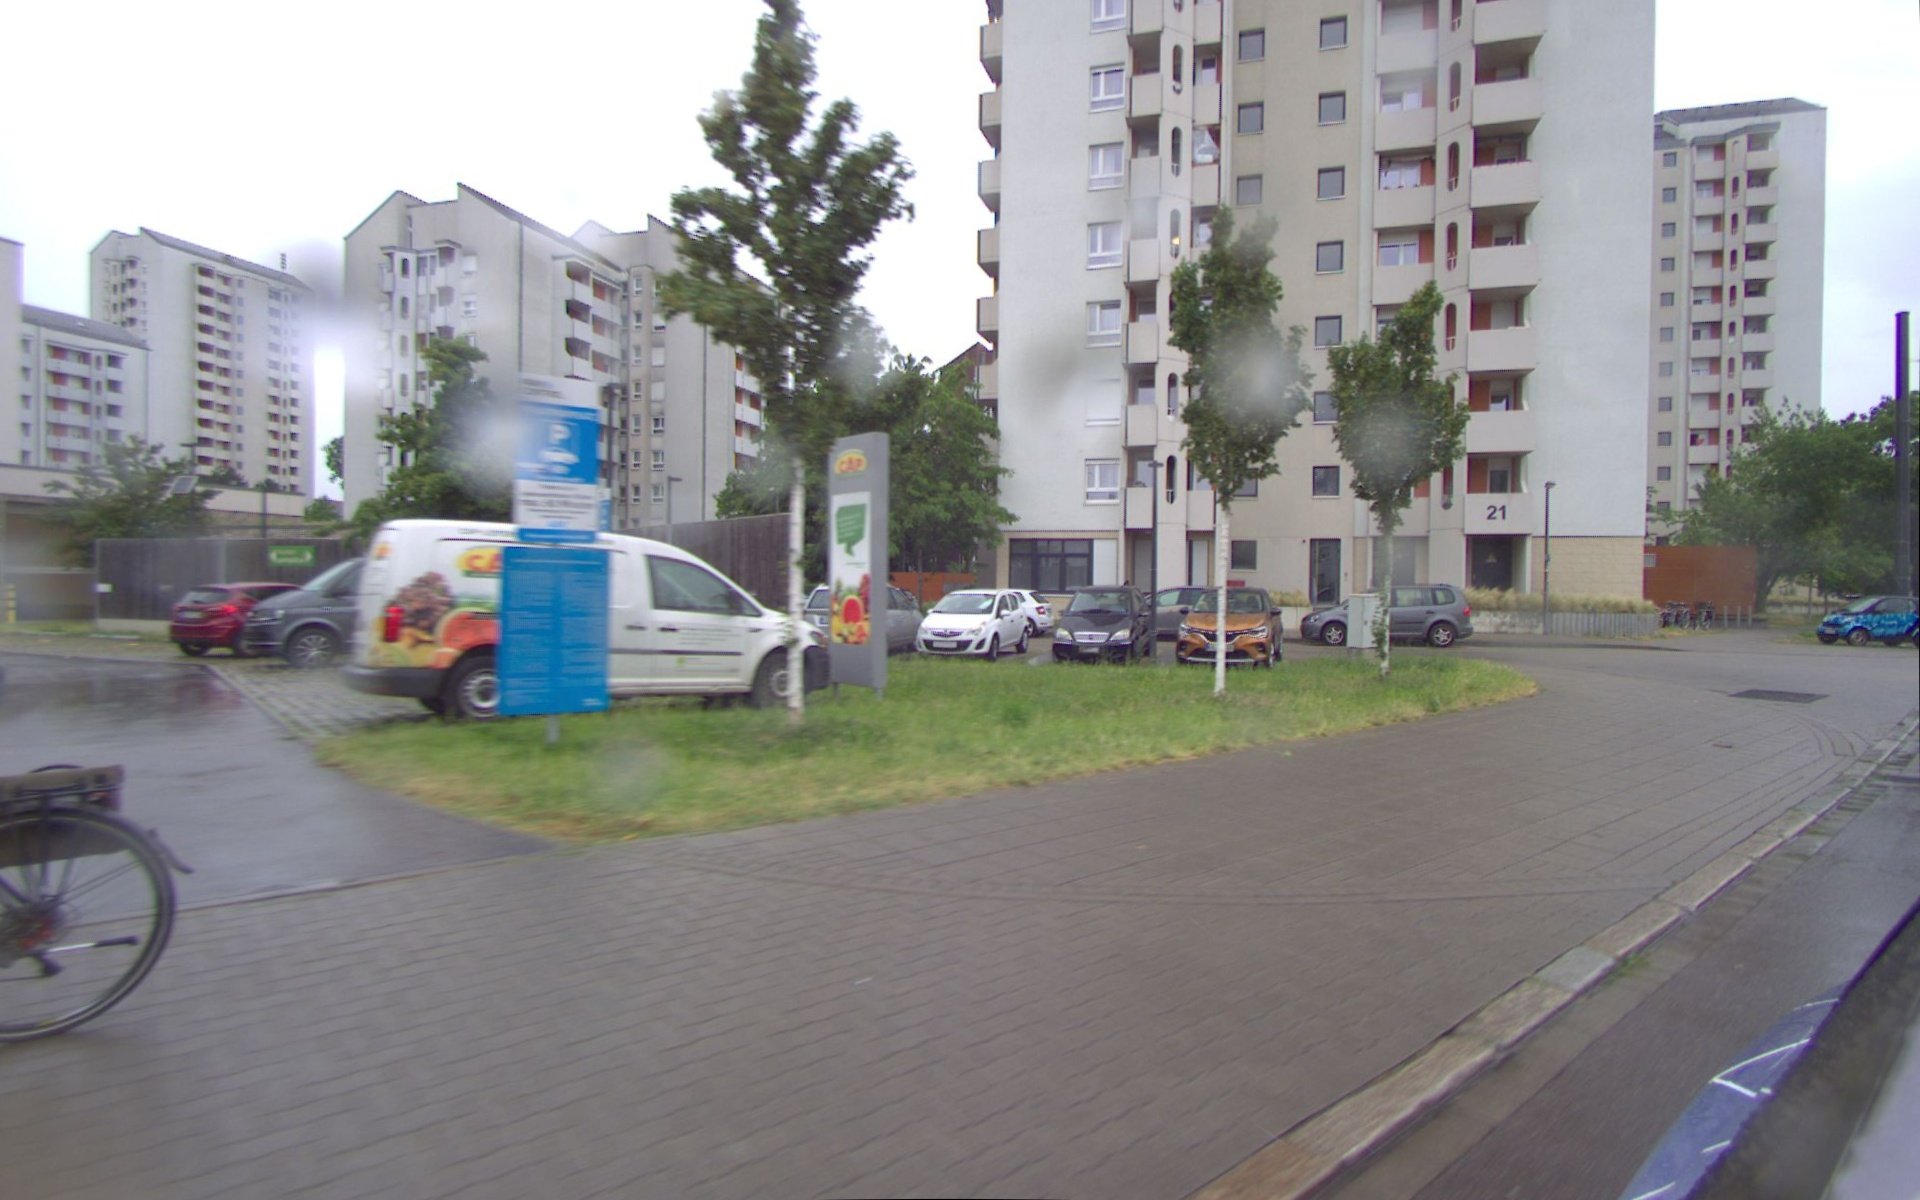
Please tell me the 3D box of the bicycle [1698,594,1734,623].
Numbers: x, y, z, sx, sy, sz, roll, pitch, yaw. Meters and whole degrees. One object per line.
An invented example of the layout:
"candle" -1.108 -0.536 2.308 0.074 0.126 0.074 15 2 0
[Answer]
"bicycle" 27.987 0.315 37.443 2.023 1.018 0.662 -1 1 -42

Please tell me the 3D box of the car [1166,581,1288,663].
"car" 5.439 0.364 20.262 1.975 1.459 3.973 0 1 21

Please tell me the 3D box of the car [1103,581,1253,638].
"car" 6.277 0.275 29.084 4.059 1.553 1.804 0 -1 19

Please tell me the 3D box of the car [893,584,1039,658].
"car" 0.239 0.402 22.320 1.975 1.459 3.973 0 1 21

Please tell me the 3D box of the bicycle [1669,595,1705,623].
"bicycle" 27.449 0.328 38.195 2.023 1.018 0.662 -1 1 -42

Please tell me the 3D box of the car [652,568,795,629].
"car" -7.827 -0.021 33.593 4.218 1.943 1.984 0 -1 17

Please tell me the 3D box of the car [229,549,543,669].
"car" -10.255 0.153 18.286 4.692 1.893 1.968 1 0 -39

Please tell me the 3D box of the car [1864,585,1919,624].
"car" 45.020 0.288 46.796 4.390 1.692 1.808 4 2 11

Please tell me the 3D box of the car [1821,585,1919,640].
"car" 27.966 0.354 30.534 2.522 1.567 1.599 1 1 9

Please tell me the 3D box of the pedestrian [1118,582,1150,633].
"pedestrian" 5.389 0.216 31.312 0.827 1.536 1.088 -1 0 19

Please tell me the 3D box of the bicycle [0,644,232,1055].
"bicycle" -3.177 0.730 2.713 0.536 1.107 1.919 0 1 42

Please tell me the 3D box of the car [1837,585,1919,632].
"car" 34.824 0.367 36.730 4.117 1.567 1.761 3 2 9

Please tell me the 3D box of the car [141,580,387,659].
"car" -14.103 0.336 20.799 1.750 1.460 3.979 -1 1 17

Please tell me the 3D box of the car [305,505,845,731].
"car" -3.751 0.157 10.379 4.808 1.806 1.968 1 0 -39

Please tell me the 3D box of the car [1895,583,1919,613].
"car" 50.124 0.016 50.762 4.397 1.446 1.677 4 2 15

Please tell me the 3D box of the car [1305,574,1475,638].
"car" 11.465 0.166 27.301 4.059 1.637 1.804 0 -1 19

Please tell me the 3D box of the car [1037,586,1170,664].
"car" 3.135 0.449 21.420 1.975 1.459 3.973 0 1 21

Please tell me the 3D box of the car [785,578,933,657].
"car" -2.133 0.353 22.802 1.941 1.607 4.343 0 0 15

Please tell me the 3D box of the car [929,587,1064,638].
"car" 1.128 0.377 30.749 3.747 1.493 1.804 0 -1 19

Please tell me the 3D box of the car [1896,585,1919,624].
"car" 44.209 0.316 44.500 4.121 1.692 1.679 4 2 12
